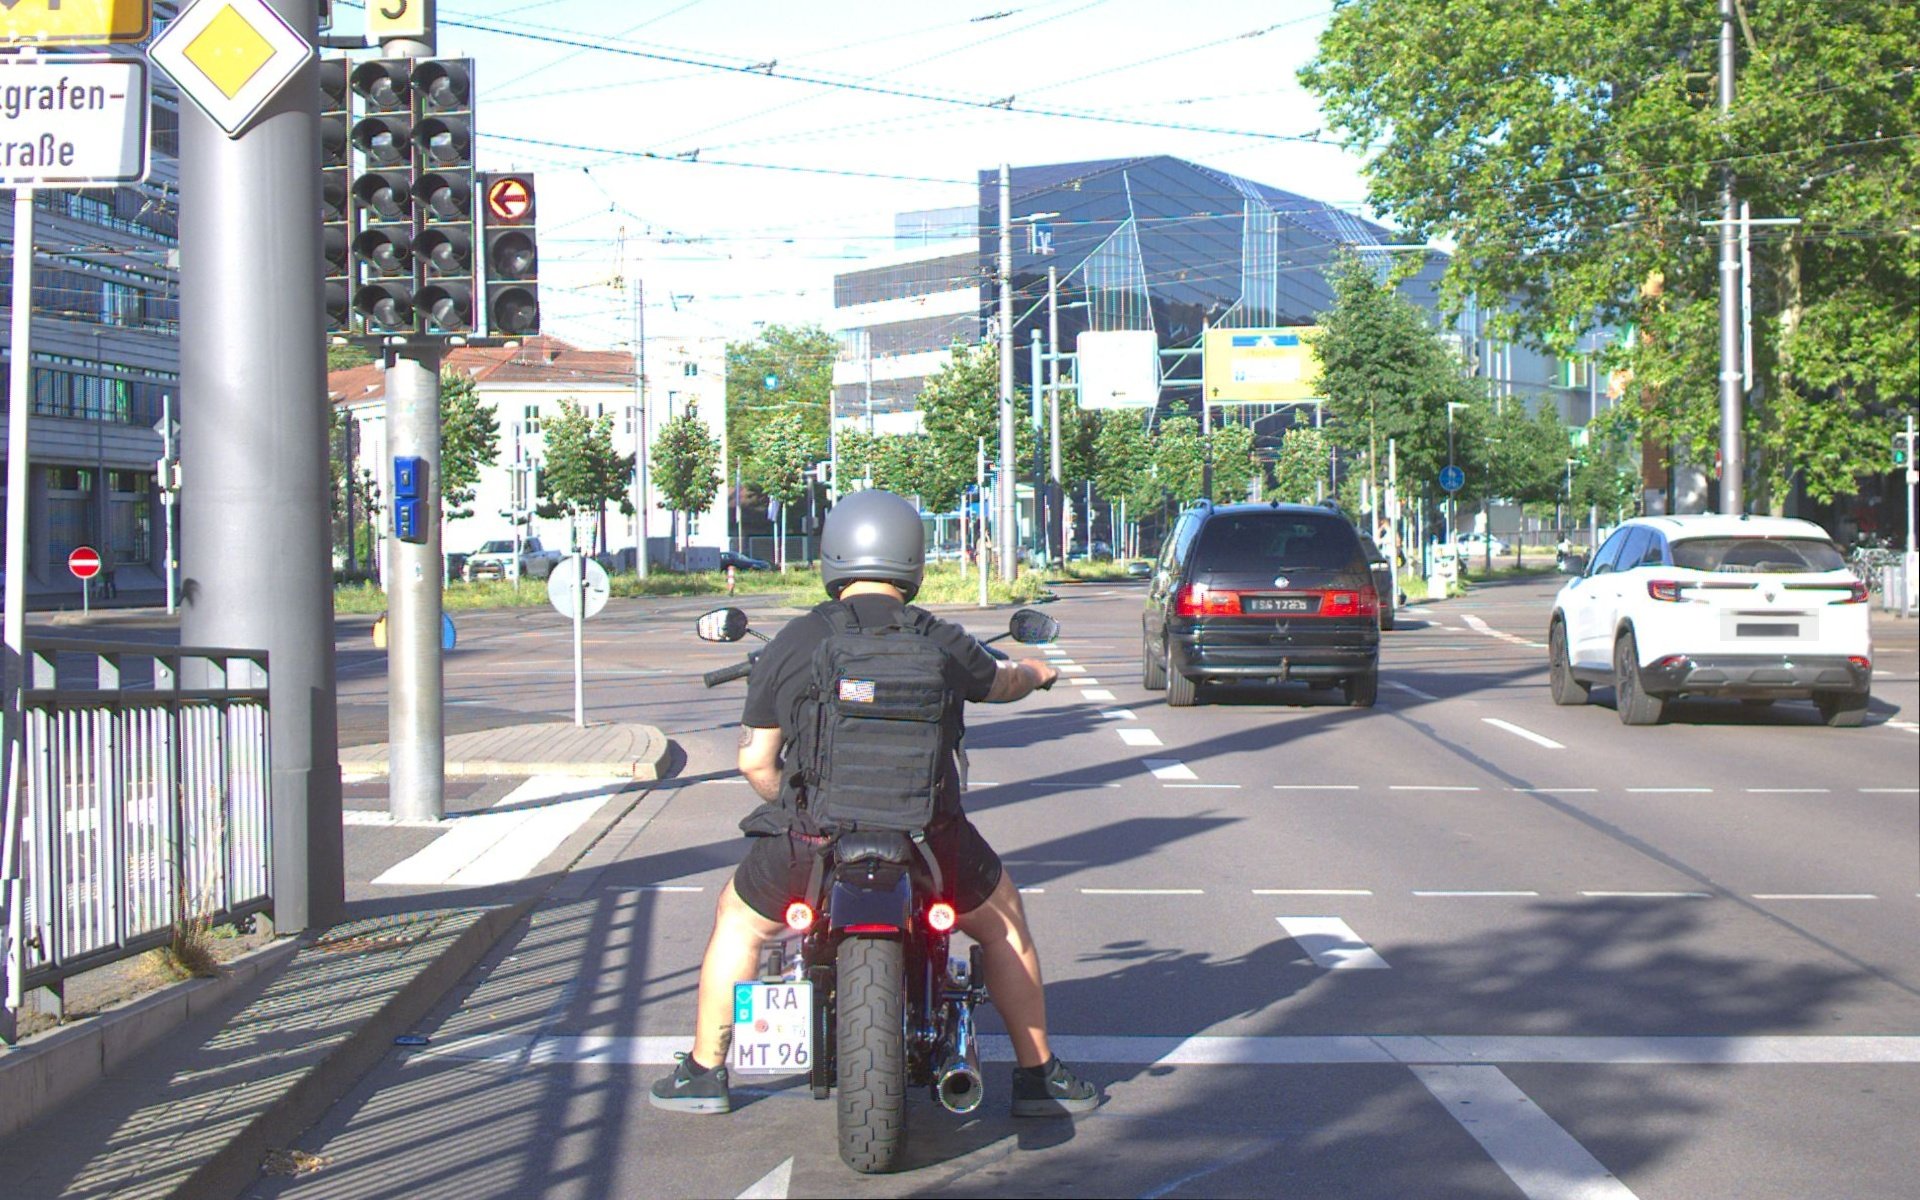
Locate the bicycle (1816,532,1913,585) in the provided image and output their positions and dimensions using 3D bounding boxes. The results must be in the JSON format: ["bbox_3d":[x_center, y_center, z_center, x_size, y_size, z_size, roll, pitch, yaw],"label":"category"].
[{"bbox_3d":[18.499,-0.846,70.332,1.880,1.043,0.360,1,0,-1],"label":"bicycle"}]

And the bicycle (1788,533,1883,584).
[{"bbox_3d":[18.464,-0.873,72.507,1.880,1.043,0.360,1,1,-1],"label":"bicycle"}]

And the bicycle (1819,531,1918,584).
[{"bbox_3d":[18.368,-0.853,69.515,1.880,1.043,0.360,1,0,-1],"label":"bicycle"}]

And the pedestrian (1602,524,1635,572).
[{"bbox_3d":[17.985,-1.421,93.906,0.819,1.309,0.638,1,0,9],"label":"pedestrian"}]

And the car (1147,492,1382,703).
[{"bbox_3d":[2.559,-0.034,29.665,1.803,1.672,4.041,1,0,2],"label":"car"}]

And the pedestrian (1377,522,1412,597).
[{"bbox_3d":[9.034,-0.850,71.528,0.587,1.551,0.489,1,0,-8],"label":"pedestrian"}]

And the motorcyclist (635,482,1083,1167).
[{"bbox_3d":[-0.239,0.514,8.442,1.030,1.588,0.873,0,1,-1],"label":"motorcyclist"}]

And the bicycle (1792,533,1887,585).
[{"bbox_3d":[18.418,-0.863,72.006,1.880,1.043,0.360,1,1,-1],"label":"bicycle"}]

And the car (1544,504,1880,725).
[{"bbox_3d":[5.851,0.091,27.200,1.731,1.593,4.041,1,0,0],"label":"car"}]

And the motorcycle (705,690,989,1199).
[{"bbox_3d":[-0.256,0.801,8.533,0.600,1.032,2.234,1,1,-1],"label":"motorcycle"}]

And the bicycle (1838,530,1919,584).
[{"bbox_3d":[18.550,-0.855,68.735,1.880,1.043,0.360,1,0,-1],"label":"bicycle"}]

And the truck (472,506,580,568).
[{"bbox_3d":[-14.047,-2.019,111.465,1.994,1.873,5.154,-3,0,10],"label":"truck"}]

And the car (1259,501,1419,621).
[{"bbox_3d":[5.566,-0.574,50.867,1.803,1.672,4.041,1,0,-1],"label":"car"}]

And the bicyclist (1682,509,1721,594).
[{"bbox_3d":[14.709,-0.955,68.214,0.688,1.667,0.540,0,0,19],"label":"bicyclist"}]
